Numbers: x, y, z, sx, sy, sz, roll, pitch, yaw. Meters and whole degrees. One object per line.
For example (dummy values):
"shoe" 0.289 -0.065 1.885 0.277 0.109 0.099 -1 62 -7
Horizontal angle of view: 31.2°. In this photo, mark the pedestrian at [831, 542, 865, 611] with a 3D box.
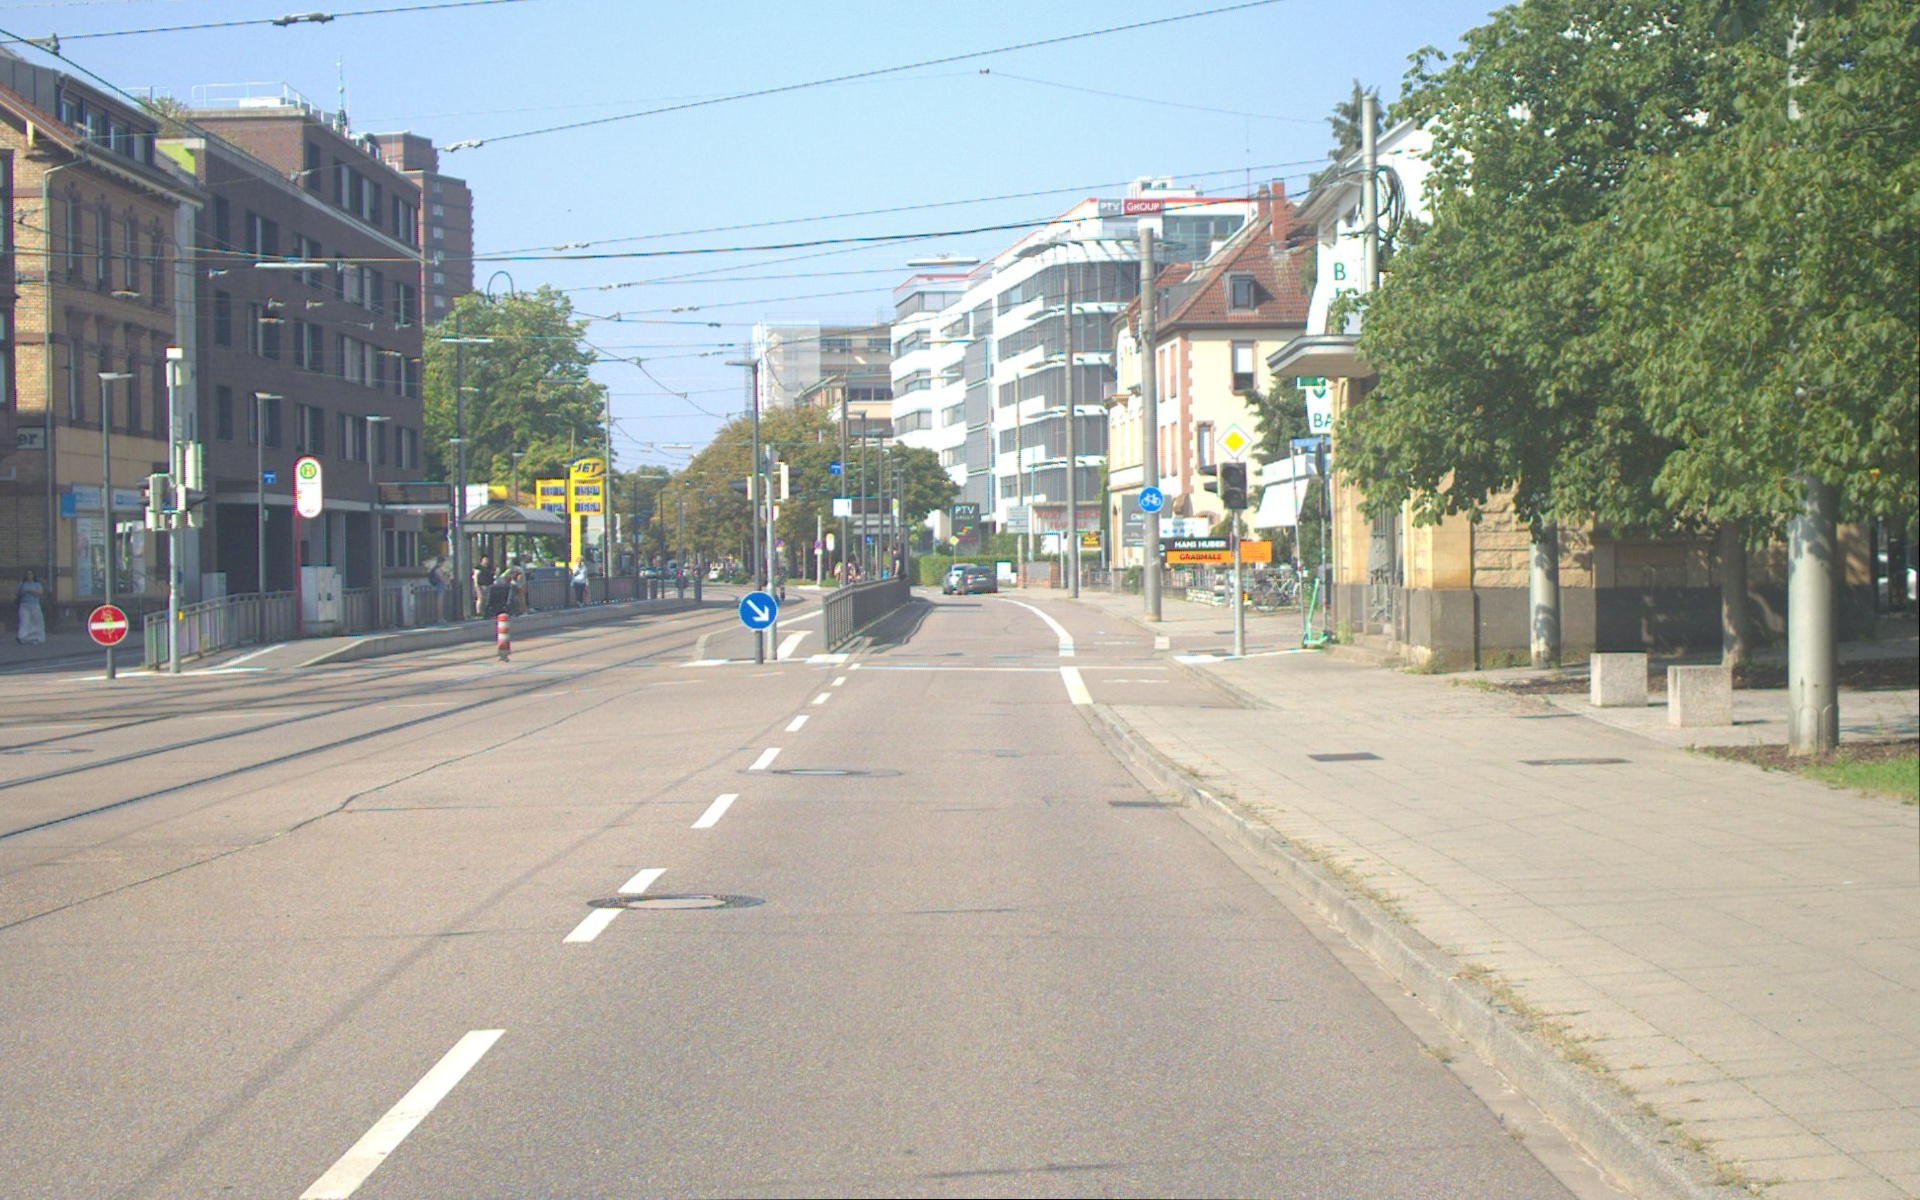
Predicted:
"pedestrian" -2.795 -0.592 85.890 0.720 1.697 0.884 -3 0 1

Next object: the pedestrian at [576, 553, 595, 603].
"pedestrian" -11.740 -0.695 107.792 0.532 1.525 0.702 -3 0 -6

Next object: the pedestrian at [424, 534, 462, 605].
"pedestrian" -12.692 -0.754 84.384 0.708 1.717 0.799 -3 0 1

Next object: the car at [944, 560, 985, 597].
"car" 0.248 -1.143 181.862 2.011 1.852 4.000 -3 1 2

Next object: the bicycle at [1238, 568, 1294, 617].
"bicycle" 7.626 -0.192 85.788 0.731 1.129 2.840 -4 1 -7

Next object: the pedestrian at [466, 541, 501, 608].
"pedestrian" -12.623 -0.670 91.097 0.708 1.741 0.799 -3 0 1

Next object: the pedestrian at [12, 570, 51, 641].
"pedestrian" -20.596 0.126 76.269 0.483 1.555 0.886 0 0 12

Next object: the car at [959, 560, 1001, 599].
"car" 1.042 -1.048 175.708 2.011 1.852 4.000 -3 1 2

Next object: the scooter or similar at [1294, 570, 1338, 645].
"scooter or similar" 5.606 0.113 54.146 0.523 1.129 1.511 -3 0 1
